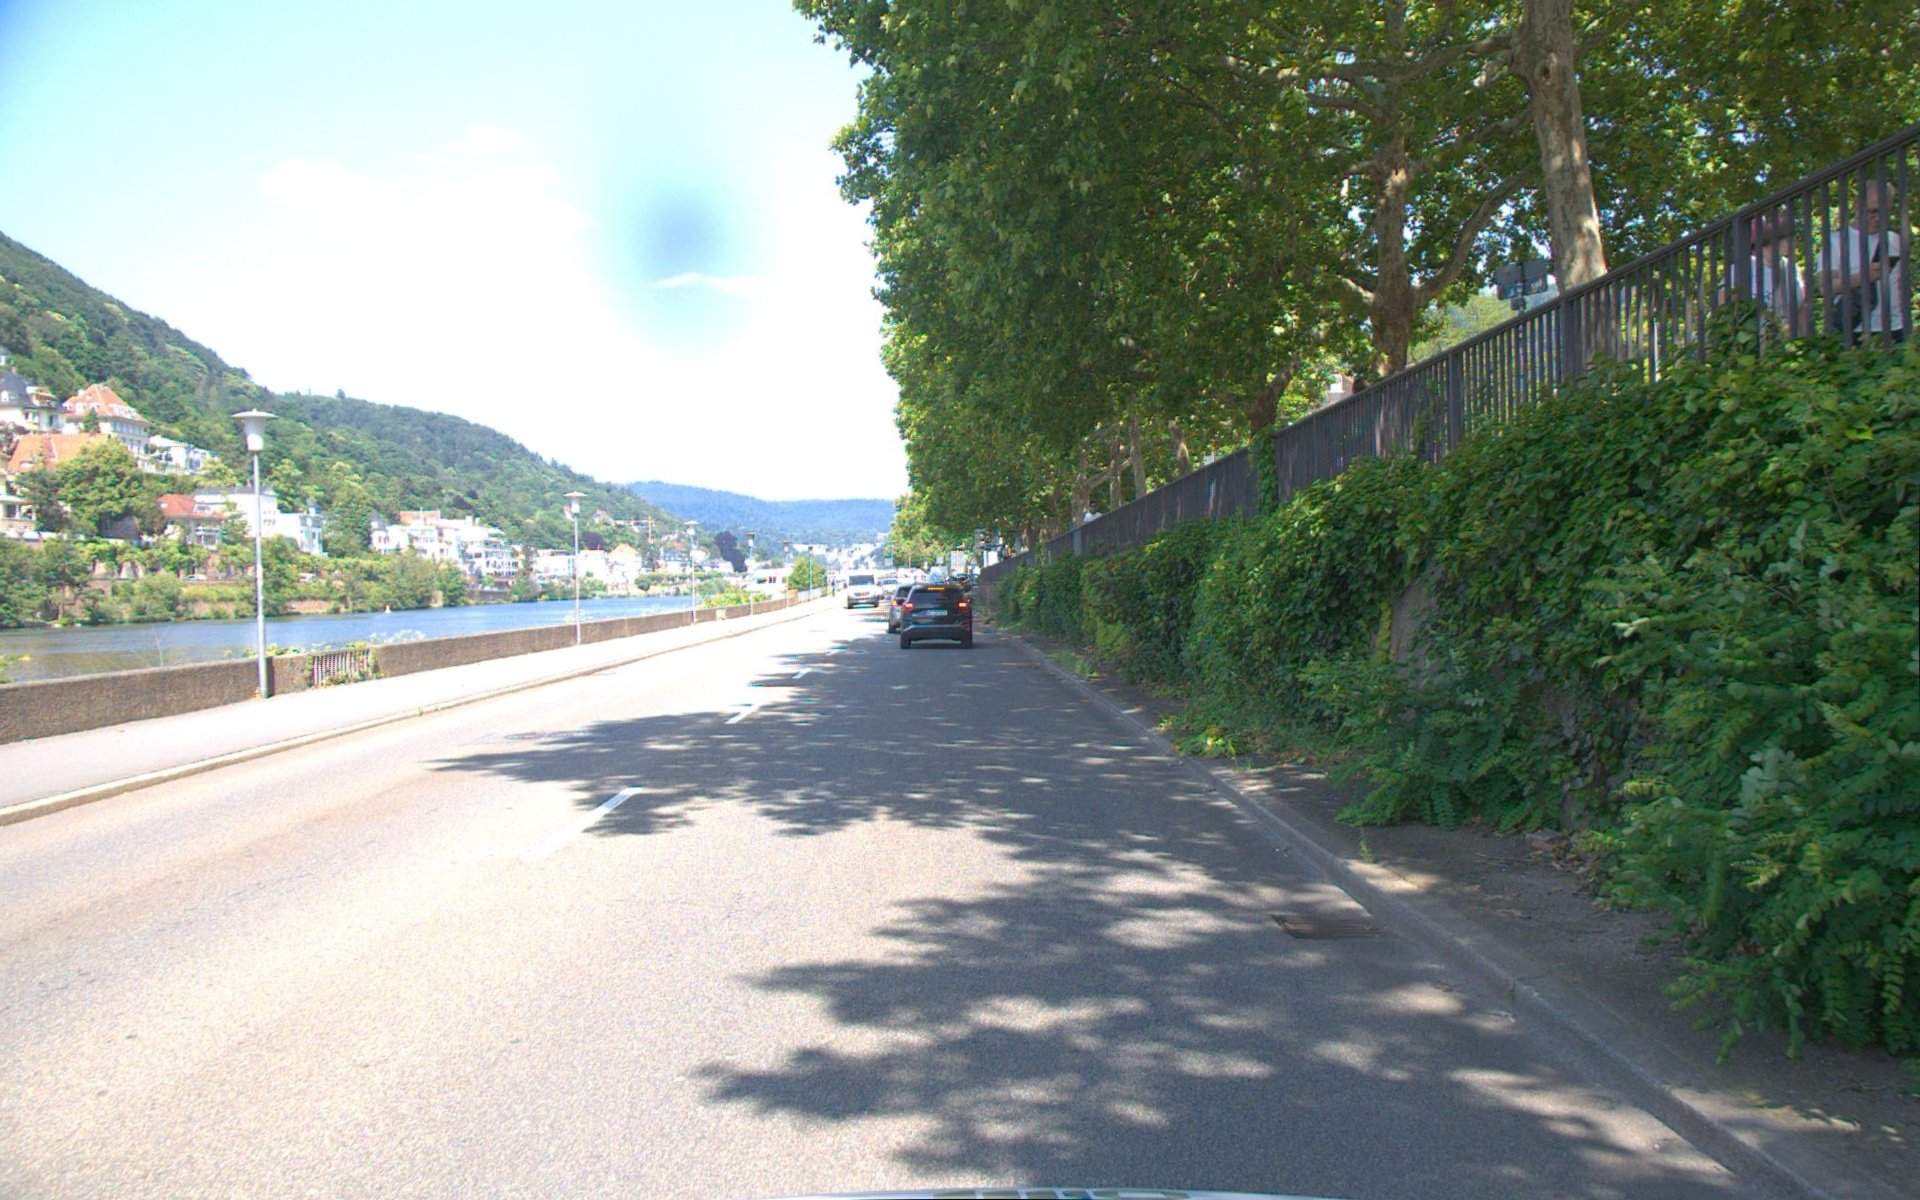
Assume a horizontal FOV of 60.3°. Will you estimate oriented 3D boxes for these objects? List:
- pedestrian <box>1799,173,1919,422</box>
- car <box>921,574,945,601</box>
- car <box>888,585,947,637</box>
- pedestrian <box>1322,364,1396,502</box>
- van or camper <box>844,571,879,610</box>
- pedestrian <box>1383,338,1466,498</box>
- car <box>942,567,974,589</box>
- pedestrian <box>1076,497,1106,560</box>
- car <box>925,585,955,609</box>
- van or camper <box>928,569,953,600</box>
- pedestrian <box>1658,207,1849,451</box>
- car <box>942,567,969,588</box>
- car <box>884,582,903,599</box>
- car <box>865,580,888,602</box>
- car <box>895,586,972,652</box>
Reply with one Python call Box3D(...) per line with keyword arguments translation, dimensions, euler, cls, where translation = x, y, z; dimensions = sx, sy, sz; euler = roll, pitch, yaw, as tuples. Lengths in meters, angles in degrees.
Box3D(translation=(5.189, -1.677, 9.283), dimensions=(0.564, 1.265, 0.691), euler=(-2, 0, -2), cls="pedestrian")
Box3D(translation=(-2.307, -1.072, 143.053), dimensions=(1.953, 2.207, 3.998), euler=(-1, 0, -2), cls="car")
Box3D(translation=(-1.378, 0.317, 52.816), dimensions=(1.791, 1.537, 3.999), euler=(-1, 1, -2), cls="car")
Box3D(translation=(4.382, -1.826, 18.197), dimensions=(0.573, 1.444, 0.588), euler=(-2, 0, -9), cls="pedestrian")
Box3D(translation=(-6.347, -0.610, 107.422), dimensions=(2.035, 2.440, 5.384), euler=(-1, 1, -1), cls="van or camper")
Box3D(translation=(5.064, -1.973, 18.051), dimensions=(0.635, 1.668, 0.625), euler=(-2, 0, -9), cls="pedestrian")
Box3D(translation=(-0.241, -2.231, 168.497), dimensions=(3.037, 2.048, 5.822), euler=(-4, 1, -2), cls="car")
Box3D(translation=(3.429, -1.859, 43.252), dimensions=(0.651, 1.619, 0.650), euler=(-2, 0, -2), cls="pedestrian")
Box3D(translation=(-1.252, -0.195, 103.889), dimensions=(1.791, 1.469, 3.999), euler=(-1, 1, -2), cls="car")
Box3D(translation=(-1.844, -1.470, 155.984), dimensions=(2.262, 2.897, 4.246), euler=(-1, 0, 0), cls="van or camper")
Box3D(translation=(4.543, -1.531, 9.508), dimensions=(0.697, 1.265, 0.742), euler=(-2, 0, -2), cls="pedestrian")
Box3D(translation=(-0.512, -2.463, 179.442), dimensions=(2.608, 2.048, 5.822), euler=(-4, 1, -2), cls="car")
Box3D(translation=(-6.180, -0.929, 154.787), dimensions=(1.697, 1.467, 4.044), euler=(-3, 1, -2), cls="car")
Box3D(translation=(-6.781, -0.733, 134.041), dimensions=(1.697, 1.678, 4.176), euler=(-3, 1, -2), cls="car")
Box3D(translation=(-0.675, 0.432, 40.858), dimensions=(1.791, 1.512, 3.999), euler=(-1, 1, -2), cls="car")
